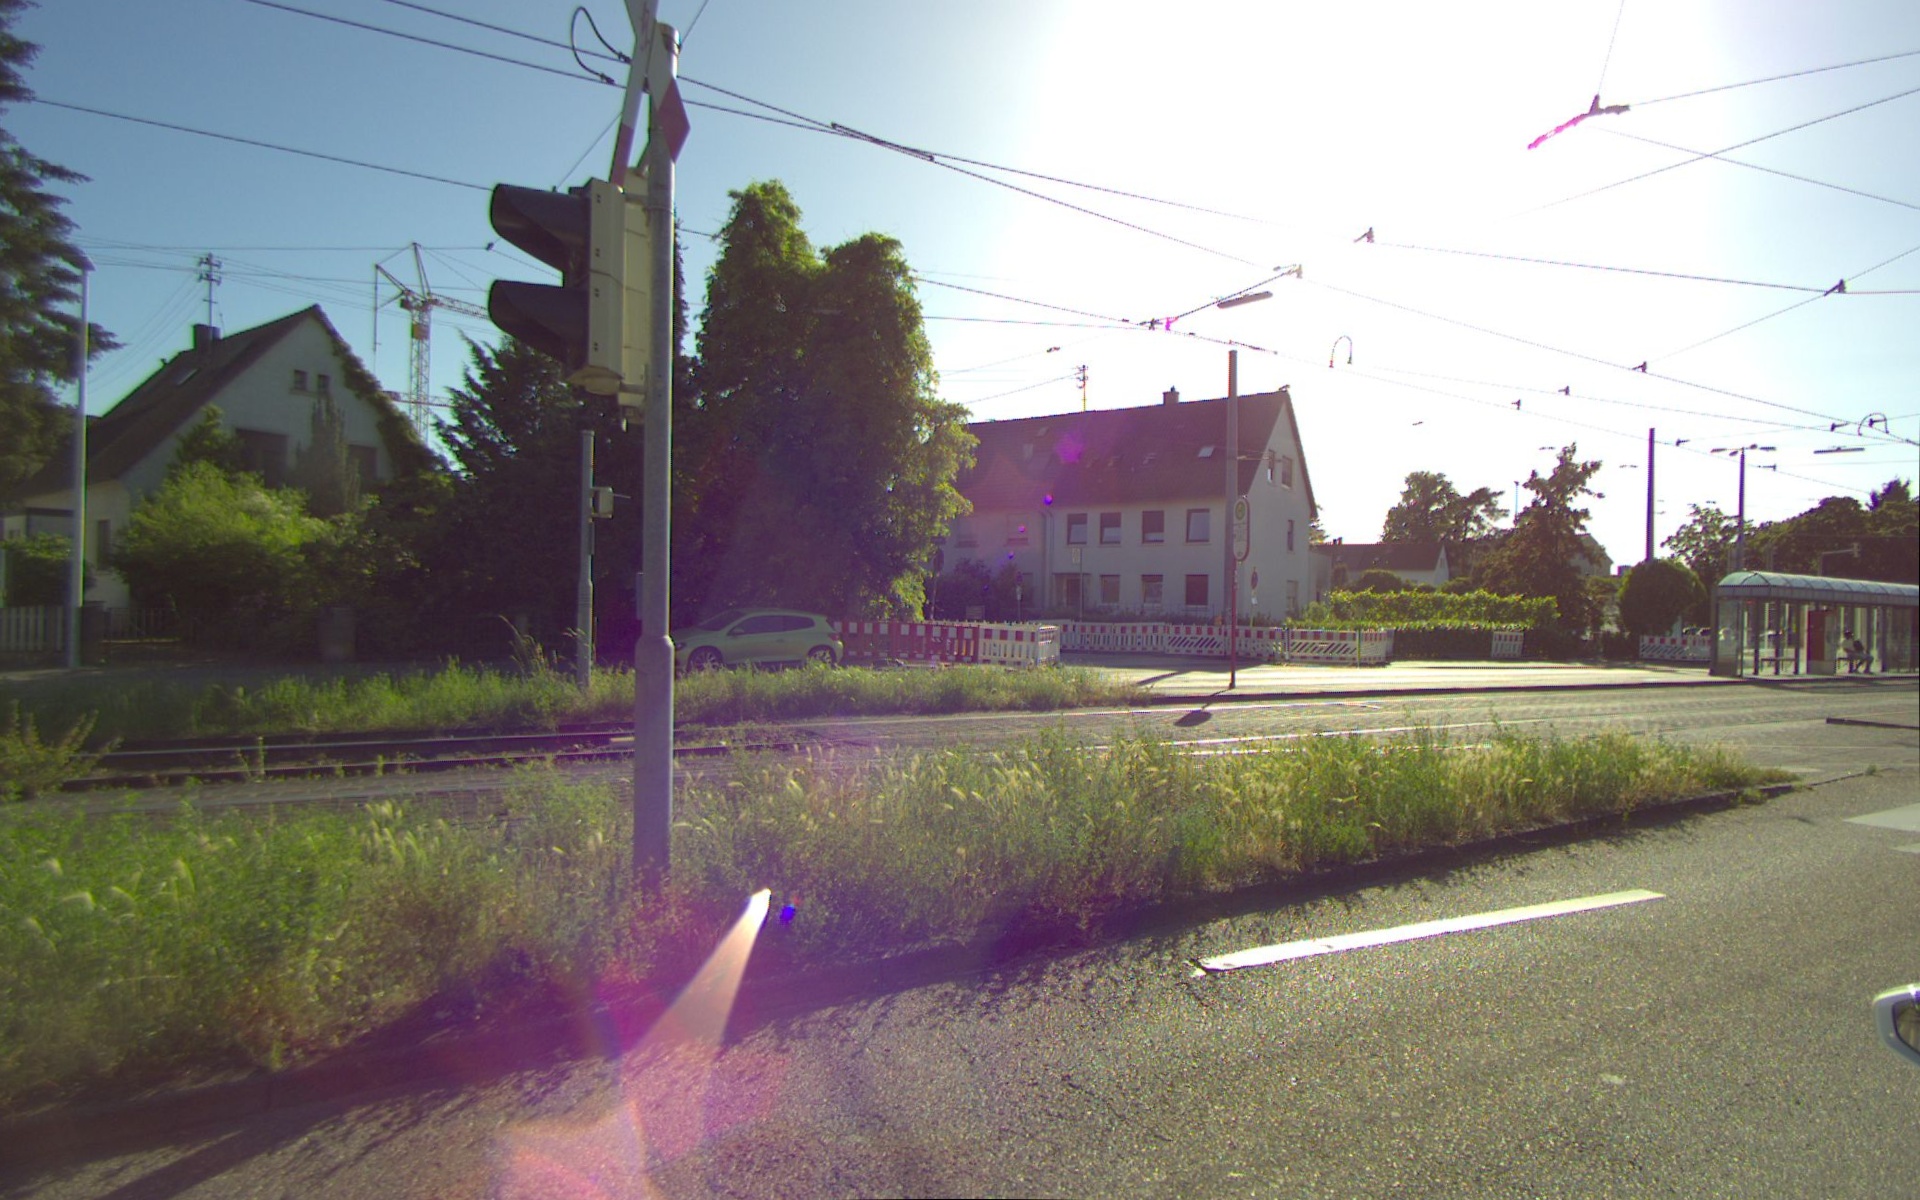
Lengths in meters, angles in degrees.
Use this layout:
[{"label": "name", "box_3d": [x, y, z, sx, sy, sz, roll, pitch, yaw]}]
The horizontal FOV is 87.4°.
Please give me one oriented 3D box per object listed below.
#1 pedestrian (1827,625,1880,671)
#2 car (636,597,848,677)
[{"label": "pedestrian", "box_3d": [29.429, 1.573, 33.090, 0.995, 1.472, 1.055, 2, -1, -30]}, {"label": "car", "box_3d": [-4.690, 0.789, 21.701, 4.025, 1.521, 1.982, 2, 1, -33]}]
